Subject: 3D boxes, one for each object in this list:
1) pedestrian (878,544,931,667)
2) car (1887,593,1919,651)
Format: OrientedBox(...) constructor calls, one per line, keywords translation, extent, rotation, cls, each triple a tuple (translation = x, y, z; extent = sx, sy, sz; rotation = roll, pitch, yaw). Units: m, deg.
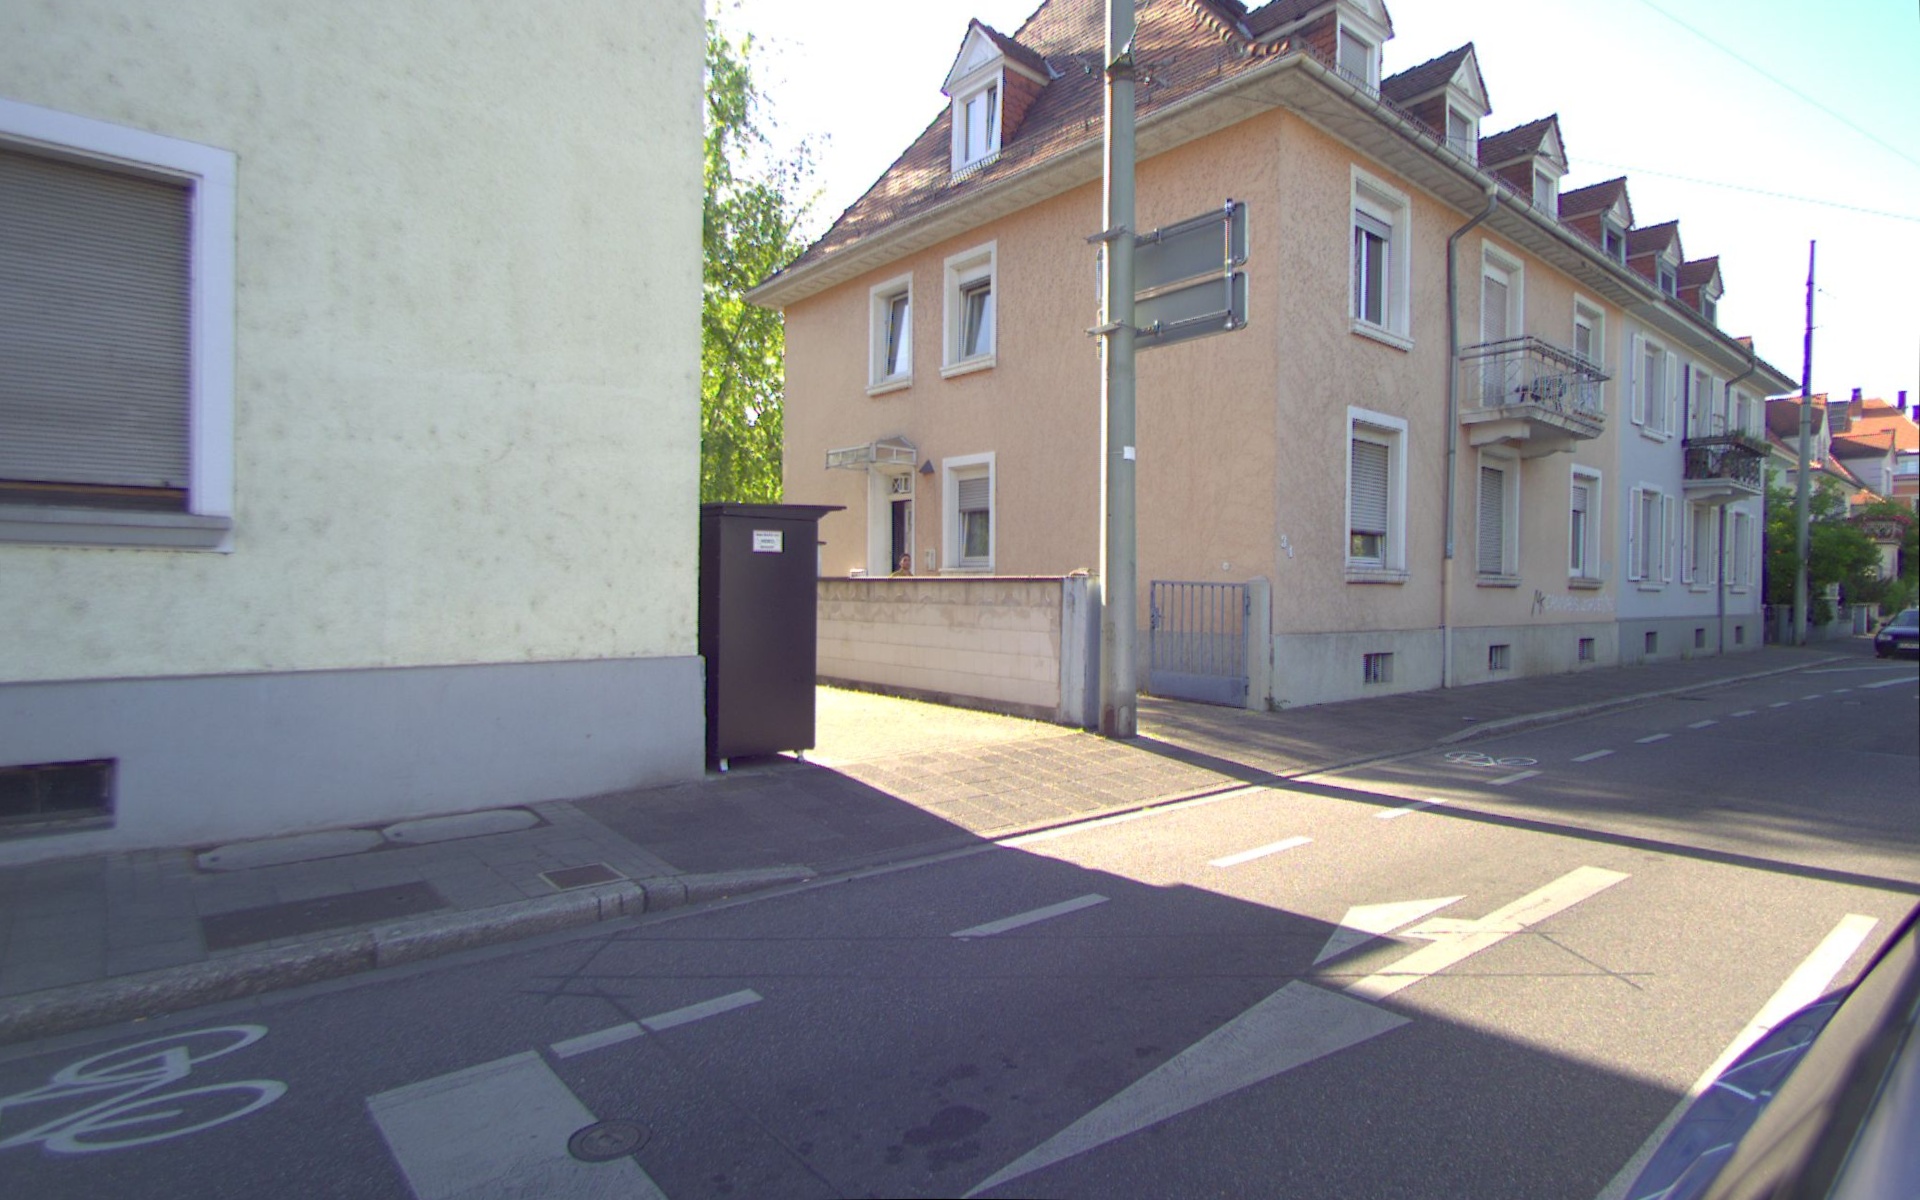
OrientedBox(translation=(-0.825, 0.072, 15.005), extent=(0.592, 1.783, 0.486), rotation=(0, 0, -39), cls="pedestrian")
OrientedBox(translation=(26.847, 0.583, 27.390), extent=(3.925, 1.504, 1.883), rotation=(0, 1, -37), cls="car")
